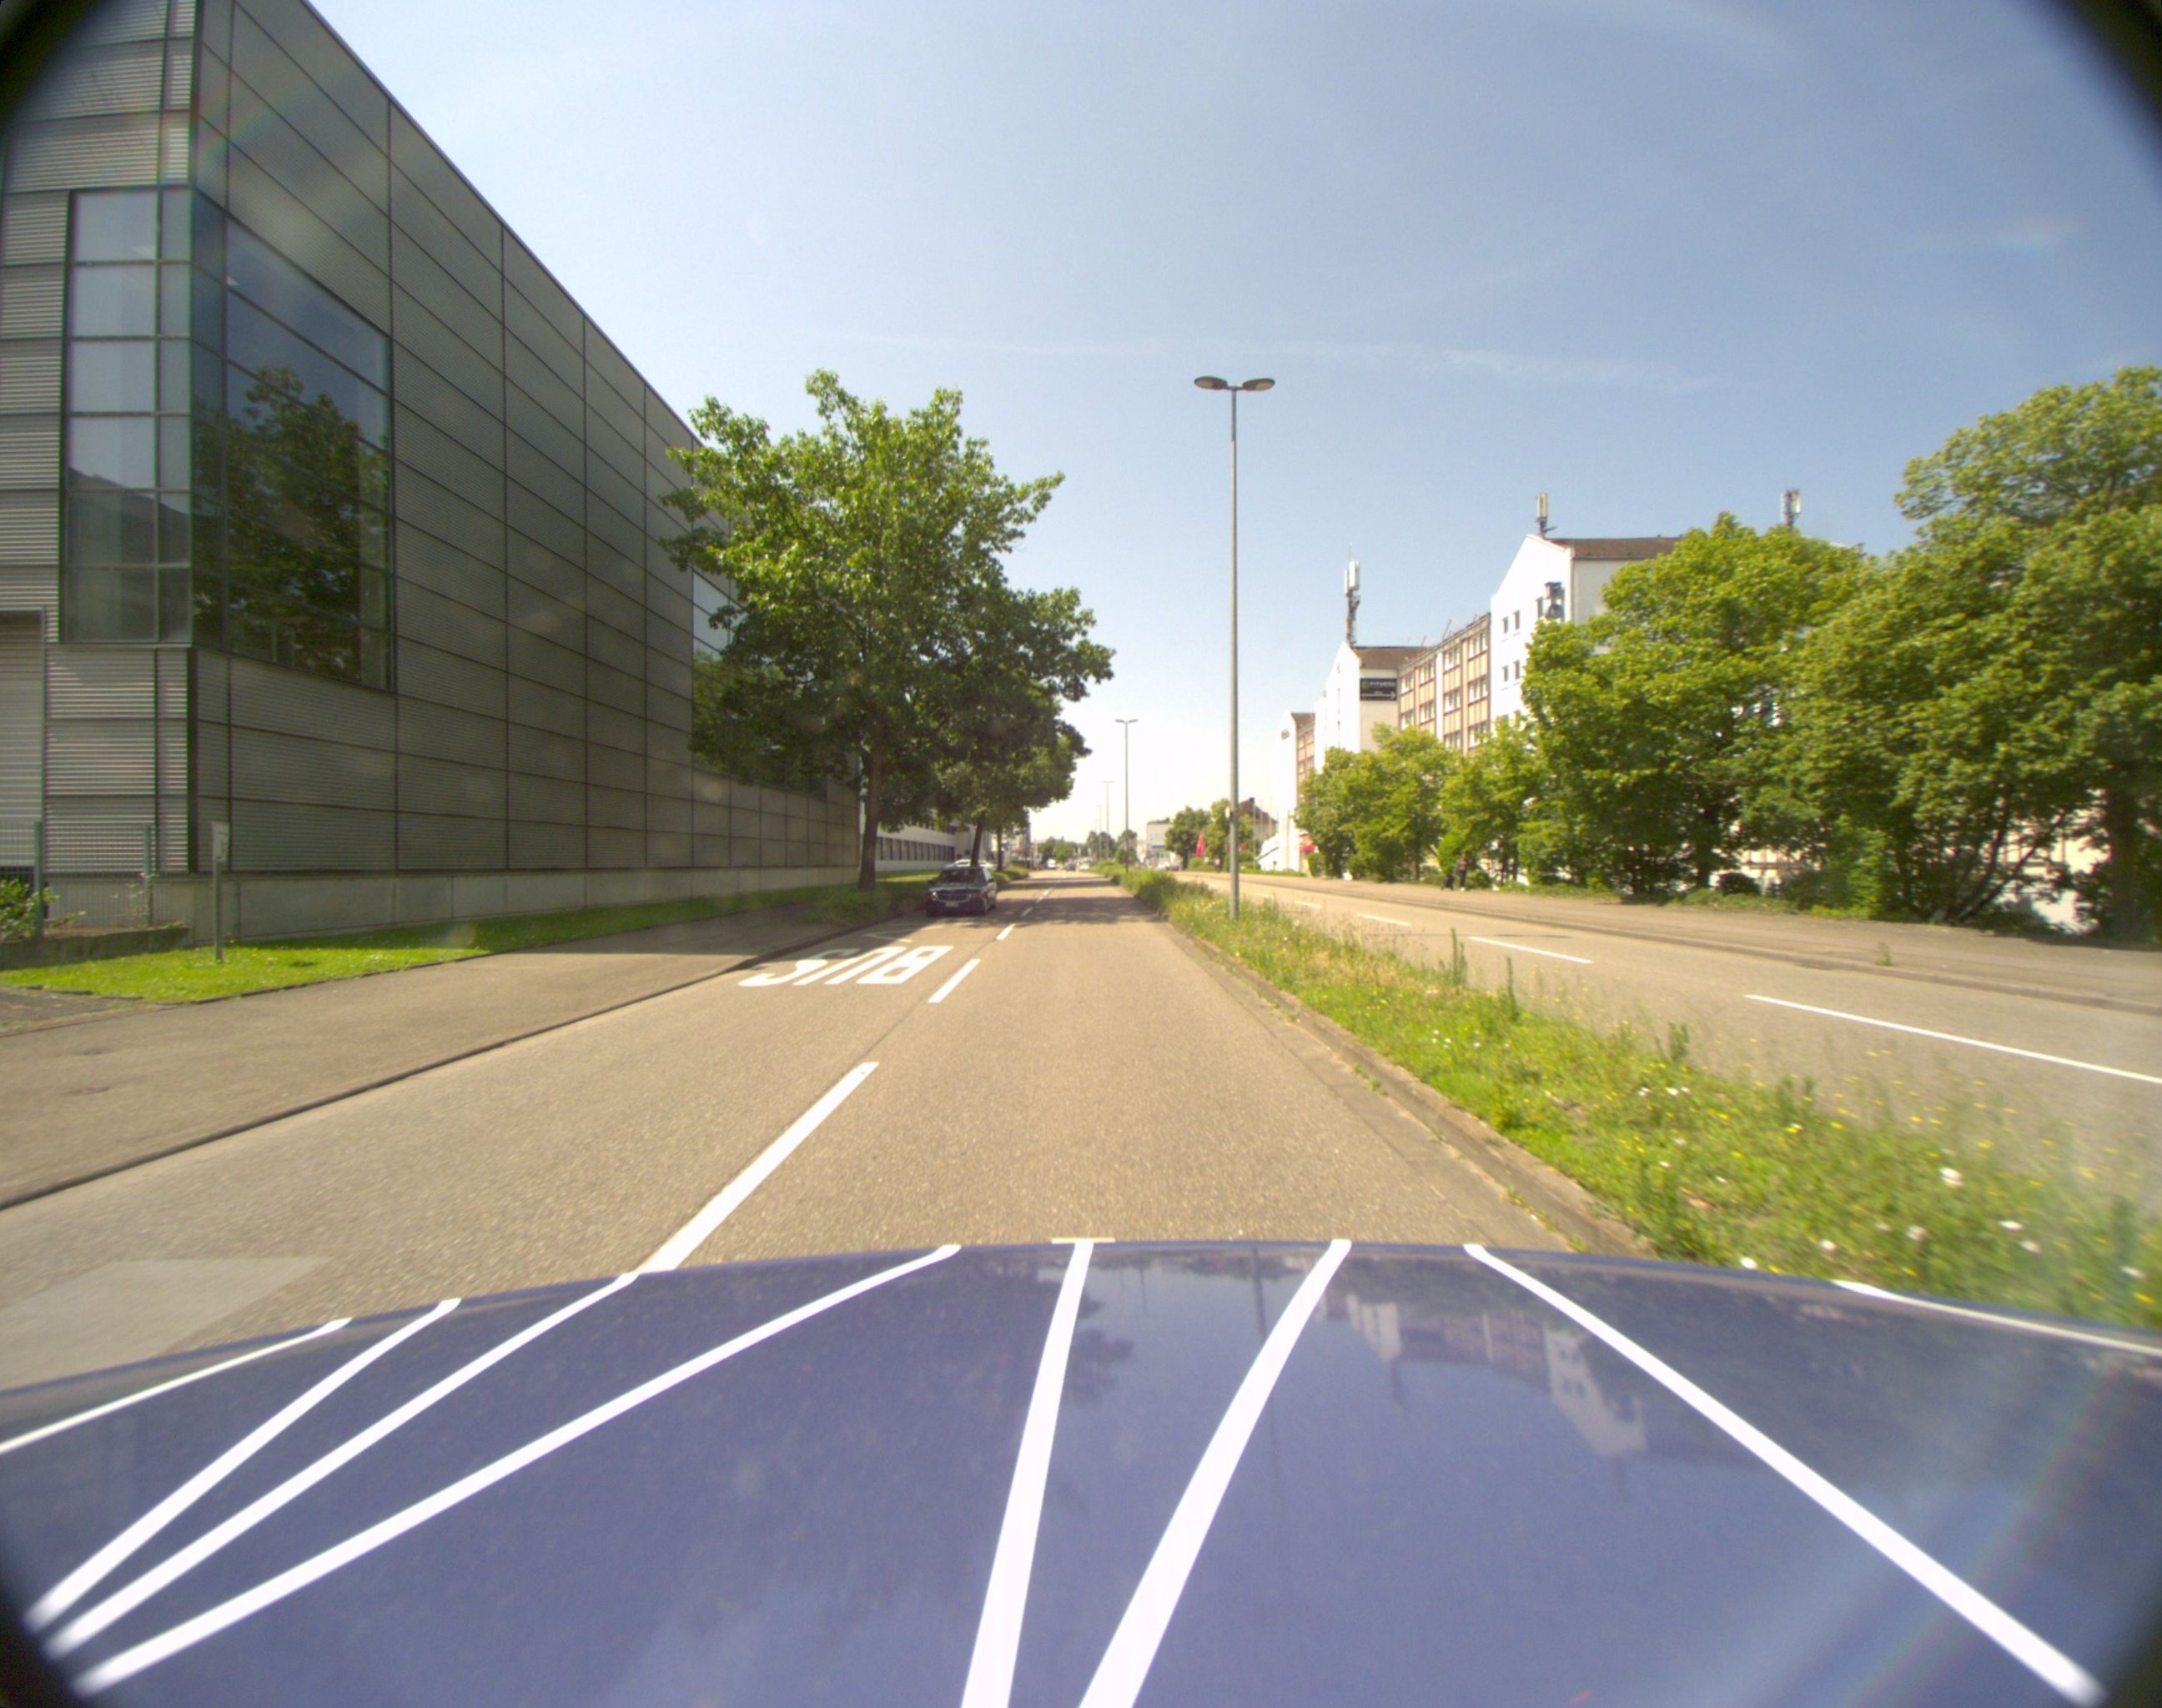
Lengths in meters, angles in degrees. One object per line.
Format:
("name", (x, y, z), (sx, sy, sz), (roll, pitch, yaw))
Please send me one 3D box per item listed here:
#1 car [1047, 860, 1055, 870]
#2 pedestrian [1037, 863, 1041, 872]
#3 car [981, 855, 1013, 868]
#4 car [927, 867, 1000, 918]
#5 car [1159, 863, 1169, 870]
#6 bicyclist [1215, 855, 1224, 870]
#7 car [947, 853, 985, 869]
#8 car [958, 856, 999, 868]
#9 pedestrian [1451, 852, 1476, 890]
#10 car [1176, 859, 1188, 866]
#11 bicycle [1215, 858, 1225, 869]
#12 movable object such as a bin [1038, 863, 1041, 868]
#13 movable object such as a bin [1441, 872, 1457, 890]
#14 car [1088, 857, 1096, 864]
("car", (-9.037, 3.362, 231.332), (2.183, 2.757, 7.278), (2, -1, 0))
("pedestrian", (-8.456, 2.650, 154.082), (0.787, 1.836, 0.936), (0, 0, 3))
("car", (-11.661, 1.049, 105.613), (4.271, 1.679, 1.999), (1, 0, -4))
("car", (-3.353, 1.068, 22.306), (1.632, 1.331, 3.756), (-2, -1, -2))
("car", (16.760, 2.565, 153.714), (1.780, 1.402, 4.761), (0, -1, 4))
("bicyclist", (14.347, 0.883, 78.859), (0.719, 1.507, 1.026), (0, 0, -3))
("car", (-12.212, 0.760, 80.815), (3.823, 1.582, 1.732), (2, 0, -4))
("car", (-12.026, 0.896, 89.407), (4.627, 1.382, 1.999), (1, 0, -5))
("pedestrian", (15.716, 0.686, 31.203), (0.634, 1.536, 0.727), (0, 0, 0))
("car", (20.207, 1.706, 152.725), (1.737, 1.343, 3.999), (0, -1, -2))
("bicycle", (14.371, 1.000, 78.858), (0.552, 1.067, 2.062), (-1, 0, -3))
("movable object such as a bin", (-8.725, 2.388, 158.892), (0.552, 0.914, 0.653), (3, 0, 1))
("movable object such as a bin", (15.337, 1.112, 31.647), (0.429, 0.701, 0.652), (0, 0, 9))
("car", (2.250, 1.332, 157.302), (1.693, 1.425, 3.712), (0, -1, 1))
